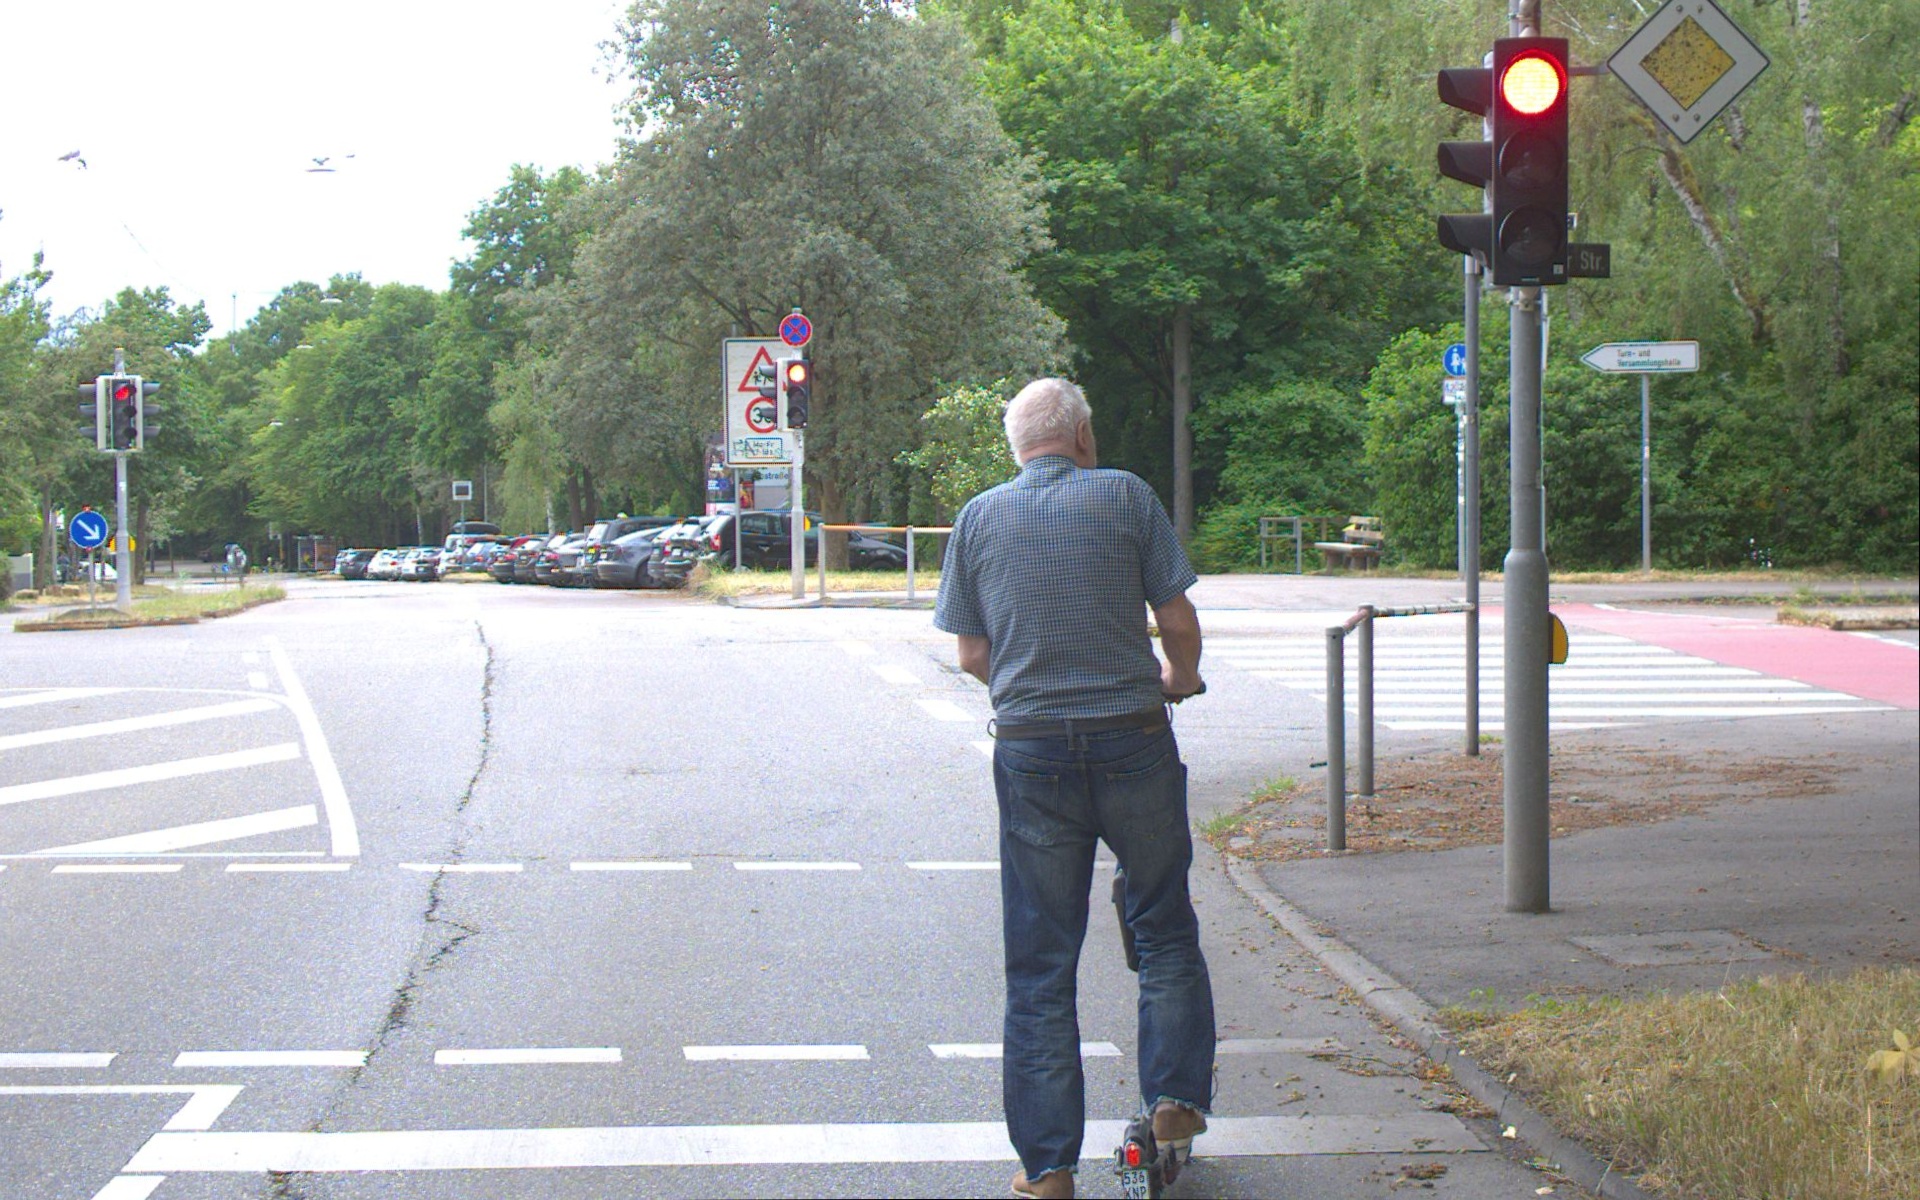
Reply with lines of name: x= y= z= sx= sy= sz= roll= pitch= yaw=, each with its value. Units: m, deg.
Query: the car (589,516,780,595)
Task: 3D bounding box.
car: x=-6.153 y=-1.009 z=76.760 sx=3.841 sy=1.605 sz=1.729 roll=-3 pitch=2 yaw=-24

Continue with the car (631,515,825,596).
car: x=-5.052 y=-0.978 z=74.789 sx=3.840 sy=1.605 sz=1.729 roll=-2 pitch=2 yaw=-21

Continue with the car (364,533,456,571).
car: x=-25.401 y=-2.214 z=158.795 sx=3.840 sy=1.605 sz=1.729 roll=-3 pitch=2 yaw=-23

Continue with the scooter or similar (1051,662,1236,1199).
scooter or similar: x=0.410 y=0.750 z=7.396 sx=0.282 sy=1.174 sz=1.177 roll=-1 pitch=1 yaw=8

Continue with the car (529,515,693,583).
car: x=-9.043 y=-1.322 z=89.060 sx=3.840 sy=1.605 sz=1.729 roll=-3 pitch=2 yaw=-23

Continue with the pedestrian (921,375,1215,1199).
pedestrian: x=0.245 y=0.424 z=7.567 sx=0.573 sy=1.807 sz=0.420 roll=-1 pitch=1 yaw=8

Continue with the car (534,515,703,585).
car: x=-8.603 y=-1.276 z=86.648 sx=3.840 sy=1.605 sz=1.729 roll=-3 pitch=2 yaw=-23

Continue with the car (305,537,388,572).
car: x=-31.326 y=-2.336 z=175.635 sx=3.840 sy=1.605 sz=1.729 roll=-3 pitch=2 yaw=-23

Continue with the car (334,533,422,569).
car: x=-28.060 y=-2.383 z=165.839 sx=3.840 sy=1.605 sz=1.729 roll=-3 pitch=2 yaw=-23

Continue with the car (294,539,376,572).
car: x=-32.347 y=-2.309 z=177.973 sx=3.840 sy=1.605 sz=1.729 roll=-3 pitch=2 yaw=-23

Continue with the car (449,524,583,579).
car: x=-14.056 y=-1.536 z=108.924 sx=3.840 sy=1.605 sz=1.729 roll=-3 pitch=2 yaw=-23

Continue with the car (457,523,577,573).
car: x=-15.703 y=-1.850 z=121.891 sx=3.840 sy=1.605 sz=1.729 roll=-3 pitch=2 yaw=-23

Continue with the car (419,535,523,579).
car: x=-19.807 y=-1.749 z=139.236 sx=3.840 sy=1.605 sz=1.729 roll=-3 pitch=2 yaw=-23

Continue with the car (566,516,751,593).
car: x=-6.954 y=-1.062 z=79.301 sx=3.840 sy=1.605 sz=1.729 roll=-3 pitch=2 yaw=-23

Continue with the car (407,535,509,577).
car: x=-20.852 y=-1.827 z=142.767 sx=3.840 sy=1.605 sz=1.729 roll=-3 pitch=2 yaw=-23

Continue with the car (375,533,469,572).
car: x=-24.448 y=-2.153 z=156.203 sx=3.840 sy=1.605 sz=1.729 roll=-3 pitch=2 yaw=-23

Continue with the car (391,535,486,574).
car: x=-23.373 y=-2.054 z=154.071 sx=3.840 sy=1.605 sz=1.729 roll=-3 pitch=2 yaw=-23

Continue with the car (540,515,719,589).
car: x=-7.817 y=-1.141 z=81.335 sx=3.840 sy=1.605 sz=1.729 roll=-3 pitch=2 yaw=-23
